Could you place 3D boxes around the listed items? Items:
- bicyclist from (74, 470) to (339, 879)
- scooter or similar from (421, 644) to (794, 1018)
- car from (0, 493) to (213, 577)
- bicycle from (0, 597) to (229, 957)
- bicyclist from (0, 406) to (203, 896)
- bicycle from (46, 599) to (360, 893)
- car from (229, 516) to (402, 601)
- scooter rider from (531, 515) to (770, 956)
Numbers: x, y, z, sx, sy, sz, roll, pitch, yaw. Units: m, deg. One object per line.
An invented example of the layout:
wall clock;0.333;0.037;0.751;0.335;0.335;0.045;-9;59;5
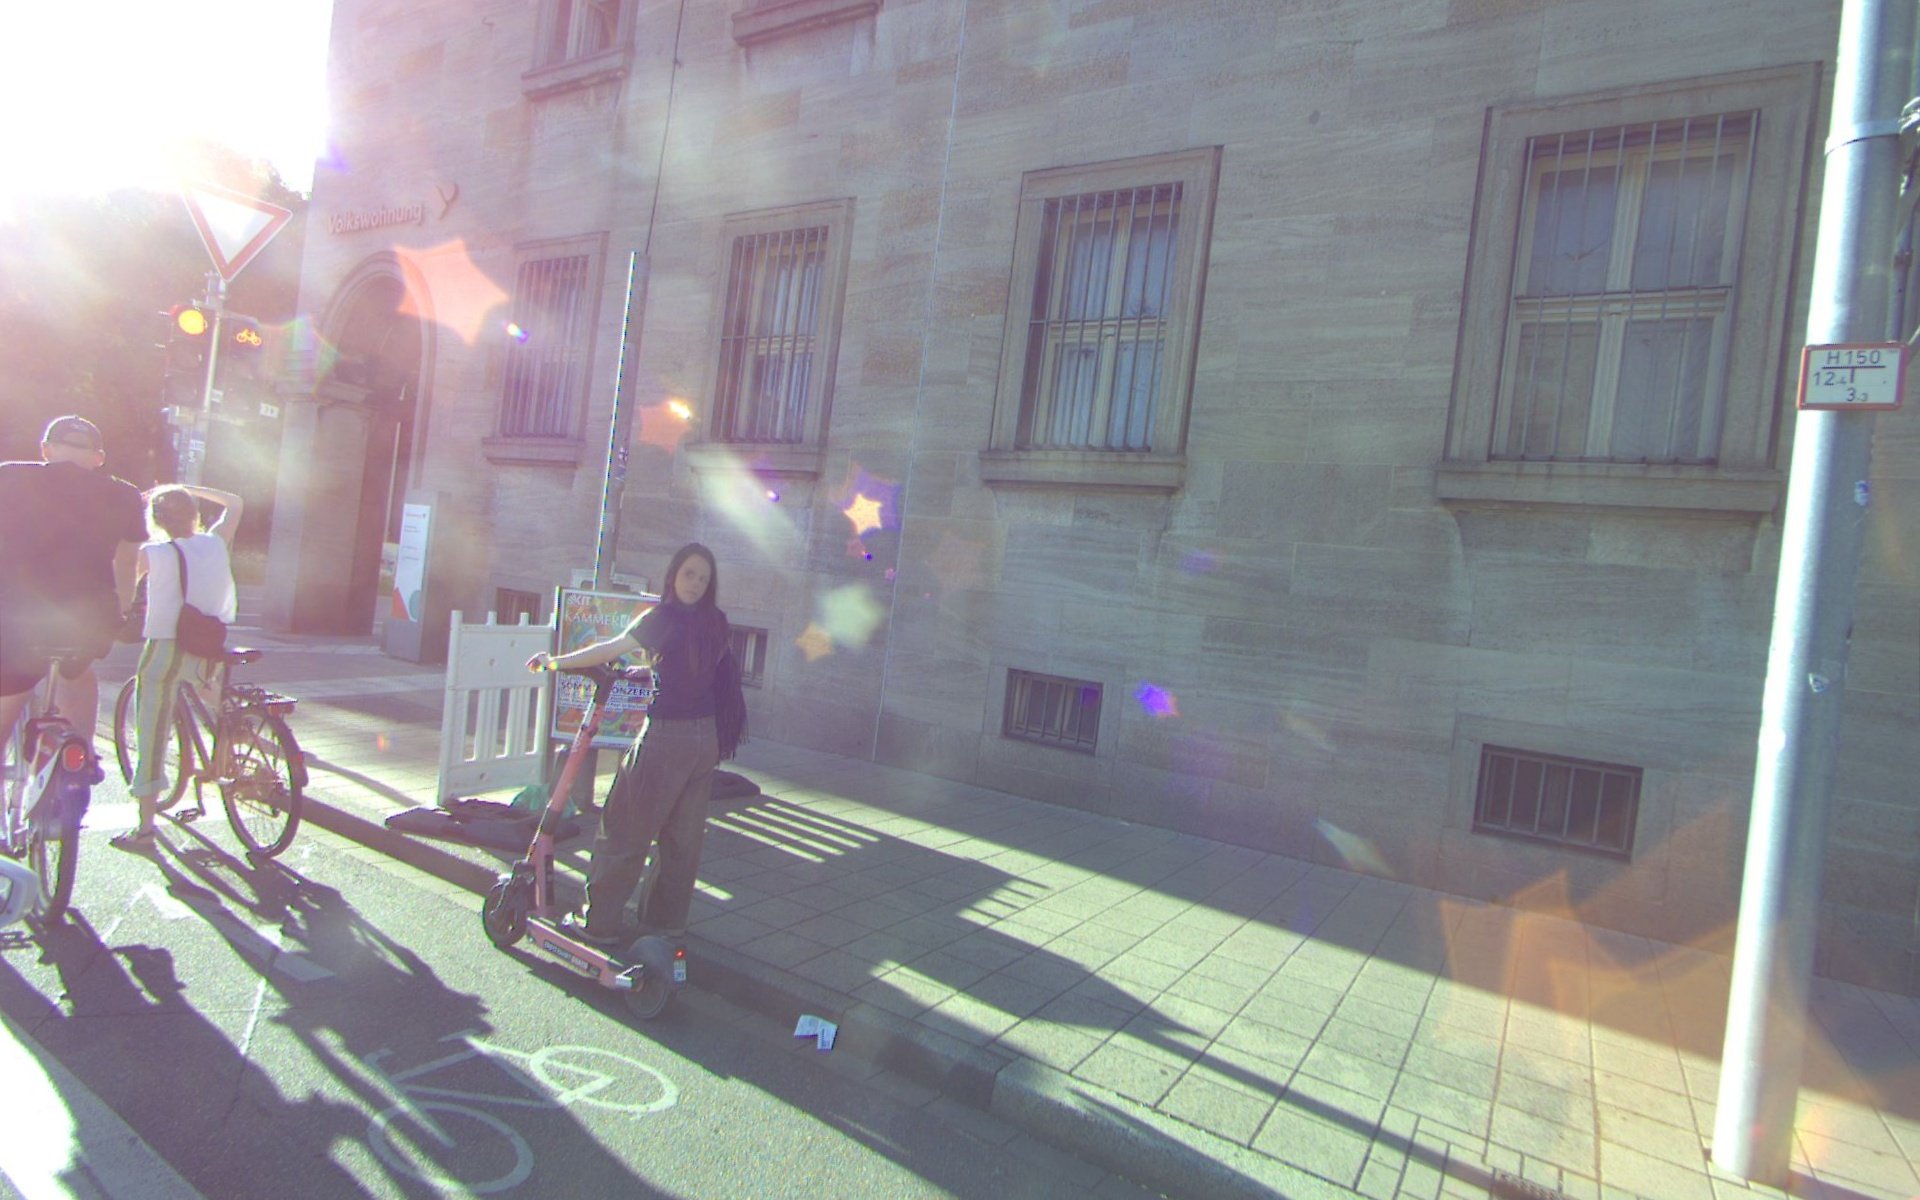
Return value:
bicyclist;-3.639;0.314;4.858;0.934;1.760;0.584;7;0;32
scooter or similar;-1.399;0.830;3.992;1.249;1.163;0.575;5;-2;26
car;-23.474;-1.749;27.342;1.967;1.533;4.586;6;-2;32
bicycle;-3.718;0.589;3.982;1.717;1.057;0.624;7;0;31
bicyclist;-3.655;0.169;3.976;0.897;1.736;0.624;7;0;31
bicycle;-3.707;0.628;4.878;1.718;1.057;0.582;7;0;33
car;-20.274;-1.259;31.798;1.968;2.037;3.994;6;-2;33
scooter rider;-1.229;0.497;3.987;0.543;1.581;0.570;7;0;-44
